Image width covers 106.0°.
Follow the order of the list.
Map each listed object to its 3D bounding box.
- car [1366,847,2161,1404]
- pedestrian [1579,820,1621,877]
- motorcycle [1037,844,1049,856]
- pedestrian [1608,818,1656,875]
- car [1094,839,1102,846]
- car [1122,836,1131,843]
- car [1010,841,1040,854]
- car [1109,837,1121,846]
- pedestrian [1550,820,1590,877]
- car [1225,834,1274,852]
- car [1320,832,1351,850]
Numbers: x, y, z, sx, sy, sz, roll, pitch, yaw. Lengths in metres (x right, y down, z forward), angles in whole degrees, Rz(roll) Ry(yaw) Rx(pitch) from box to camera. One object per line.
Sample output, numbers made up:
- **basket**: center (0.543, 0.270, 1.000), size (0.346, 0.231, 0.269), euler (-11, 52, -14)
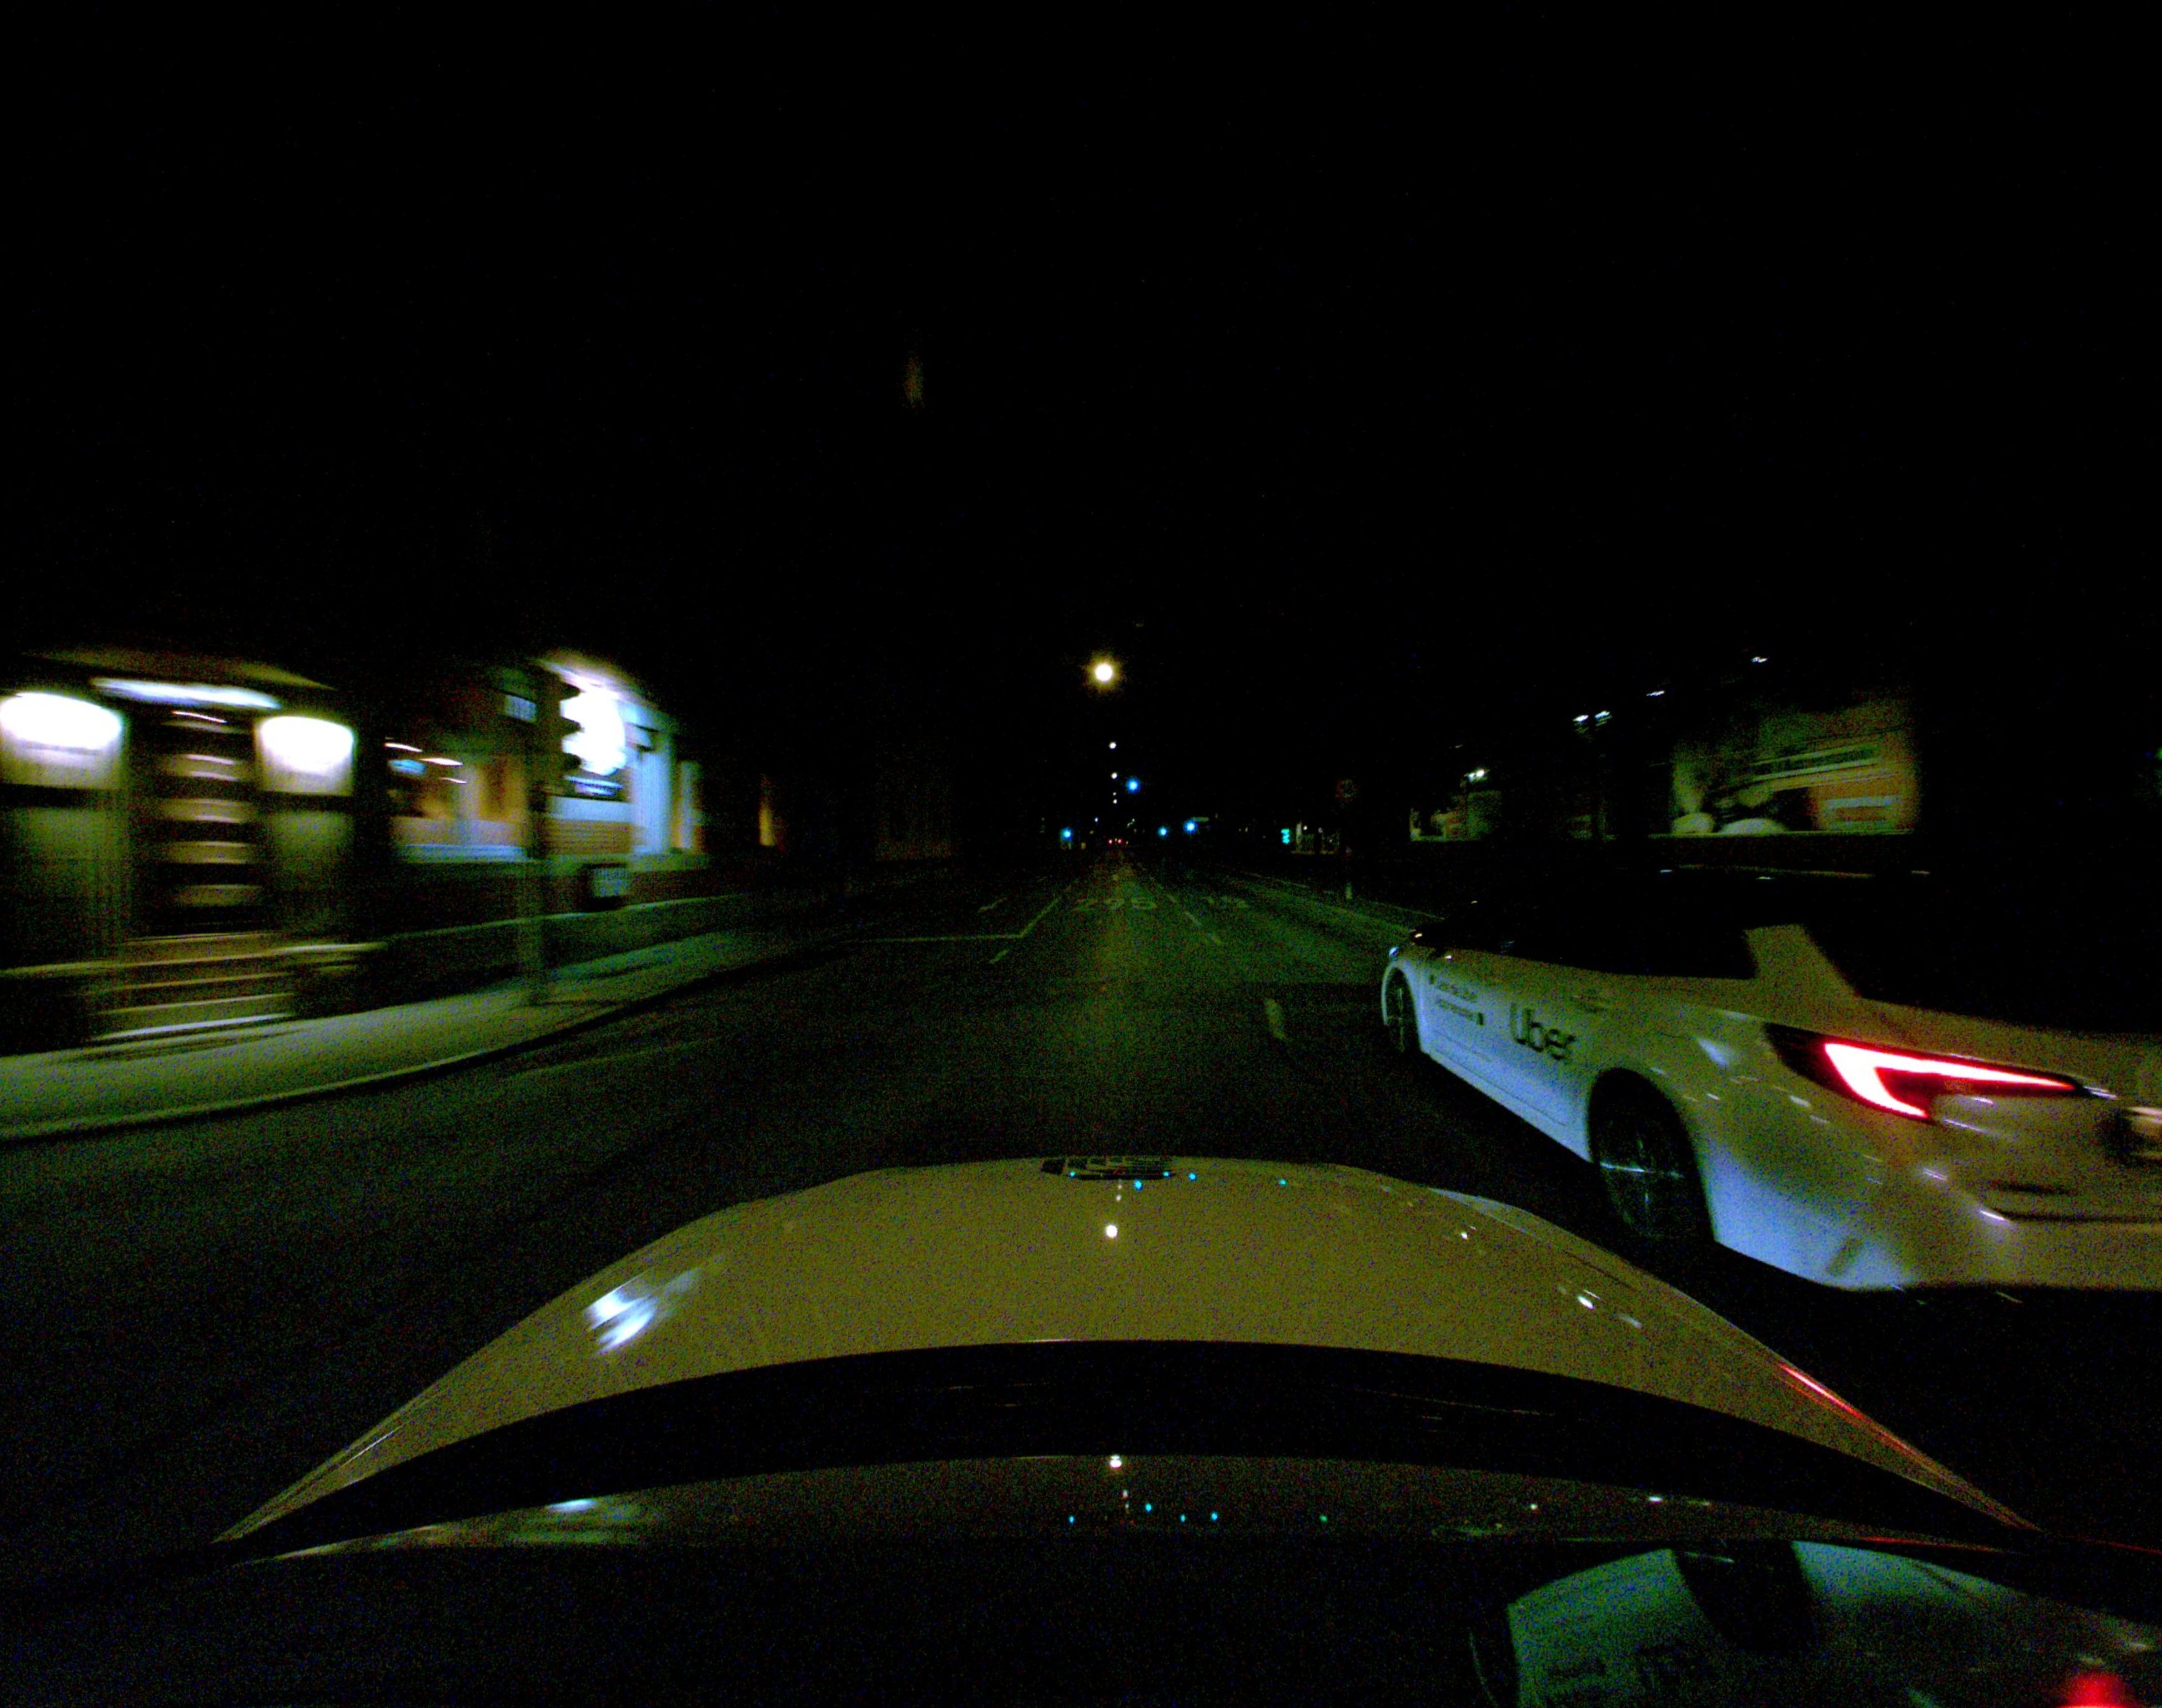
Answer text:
- **car**: center (2.994, 0.695, 4.227), size (1.722, 1.435, 4.214), euler (1, 1, 3)
- **pedestrian**: center (16.552, -0.169, 25.988), size (0.736, 1.769, 0.907), euler (-2, 0, 2)
- **motorcycle**: center (-4.239, -0.433, 90.136), size (0.783, 1.204, 2.436), euler (-2, 1, -16)
- **pedestrian**: center (17.673, -0.246, 26.137), size (0.897, 1.769, 0.907), euler (-2, 0, 2)
- **car**: center (3.787, -2.628, 183.609), size (1.771, 1.390, 4.000), euler (-2, 1, 0)
- **car**: center (11.089, -3.475, 198.007), size (1.987, 1.596, 4.000), euler (-2, 1, 0)
- **car**: center (-6.427, -0.730, 92.948), size (1.814, 1.486, 3.962), euler (-2, 1, -29)
- **car**: center (6.074, -2.204, 143.926), size (1.987, 1.640, 4.001), euler (-1, 0, 1)
- **pedestrian**: center (15.602, -0.183, 25.998), size (0.711, 1.769, 0.907), euler (-2, 0, 2)
- **car**: center (14.595, -0.962, 70.646), size (3.968, 1.386, 1.774), euler (-2, 1, 5)
- **car**: center (22.460, -1.135, 71.915), size (1.567, 1.487, 3.833), euler (-2, 1, 2)
